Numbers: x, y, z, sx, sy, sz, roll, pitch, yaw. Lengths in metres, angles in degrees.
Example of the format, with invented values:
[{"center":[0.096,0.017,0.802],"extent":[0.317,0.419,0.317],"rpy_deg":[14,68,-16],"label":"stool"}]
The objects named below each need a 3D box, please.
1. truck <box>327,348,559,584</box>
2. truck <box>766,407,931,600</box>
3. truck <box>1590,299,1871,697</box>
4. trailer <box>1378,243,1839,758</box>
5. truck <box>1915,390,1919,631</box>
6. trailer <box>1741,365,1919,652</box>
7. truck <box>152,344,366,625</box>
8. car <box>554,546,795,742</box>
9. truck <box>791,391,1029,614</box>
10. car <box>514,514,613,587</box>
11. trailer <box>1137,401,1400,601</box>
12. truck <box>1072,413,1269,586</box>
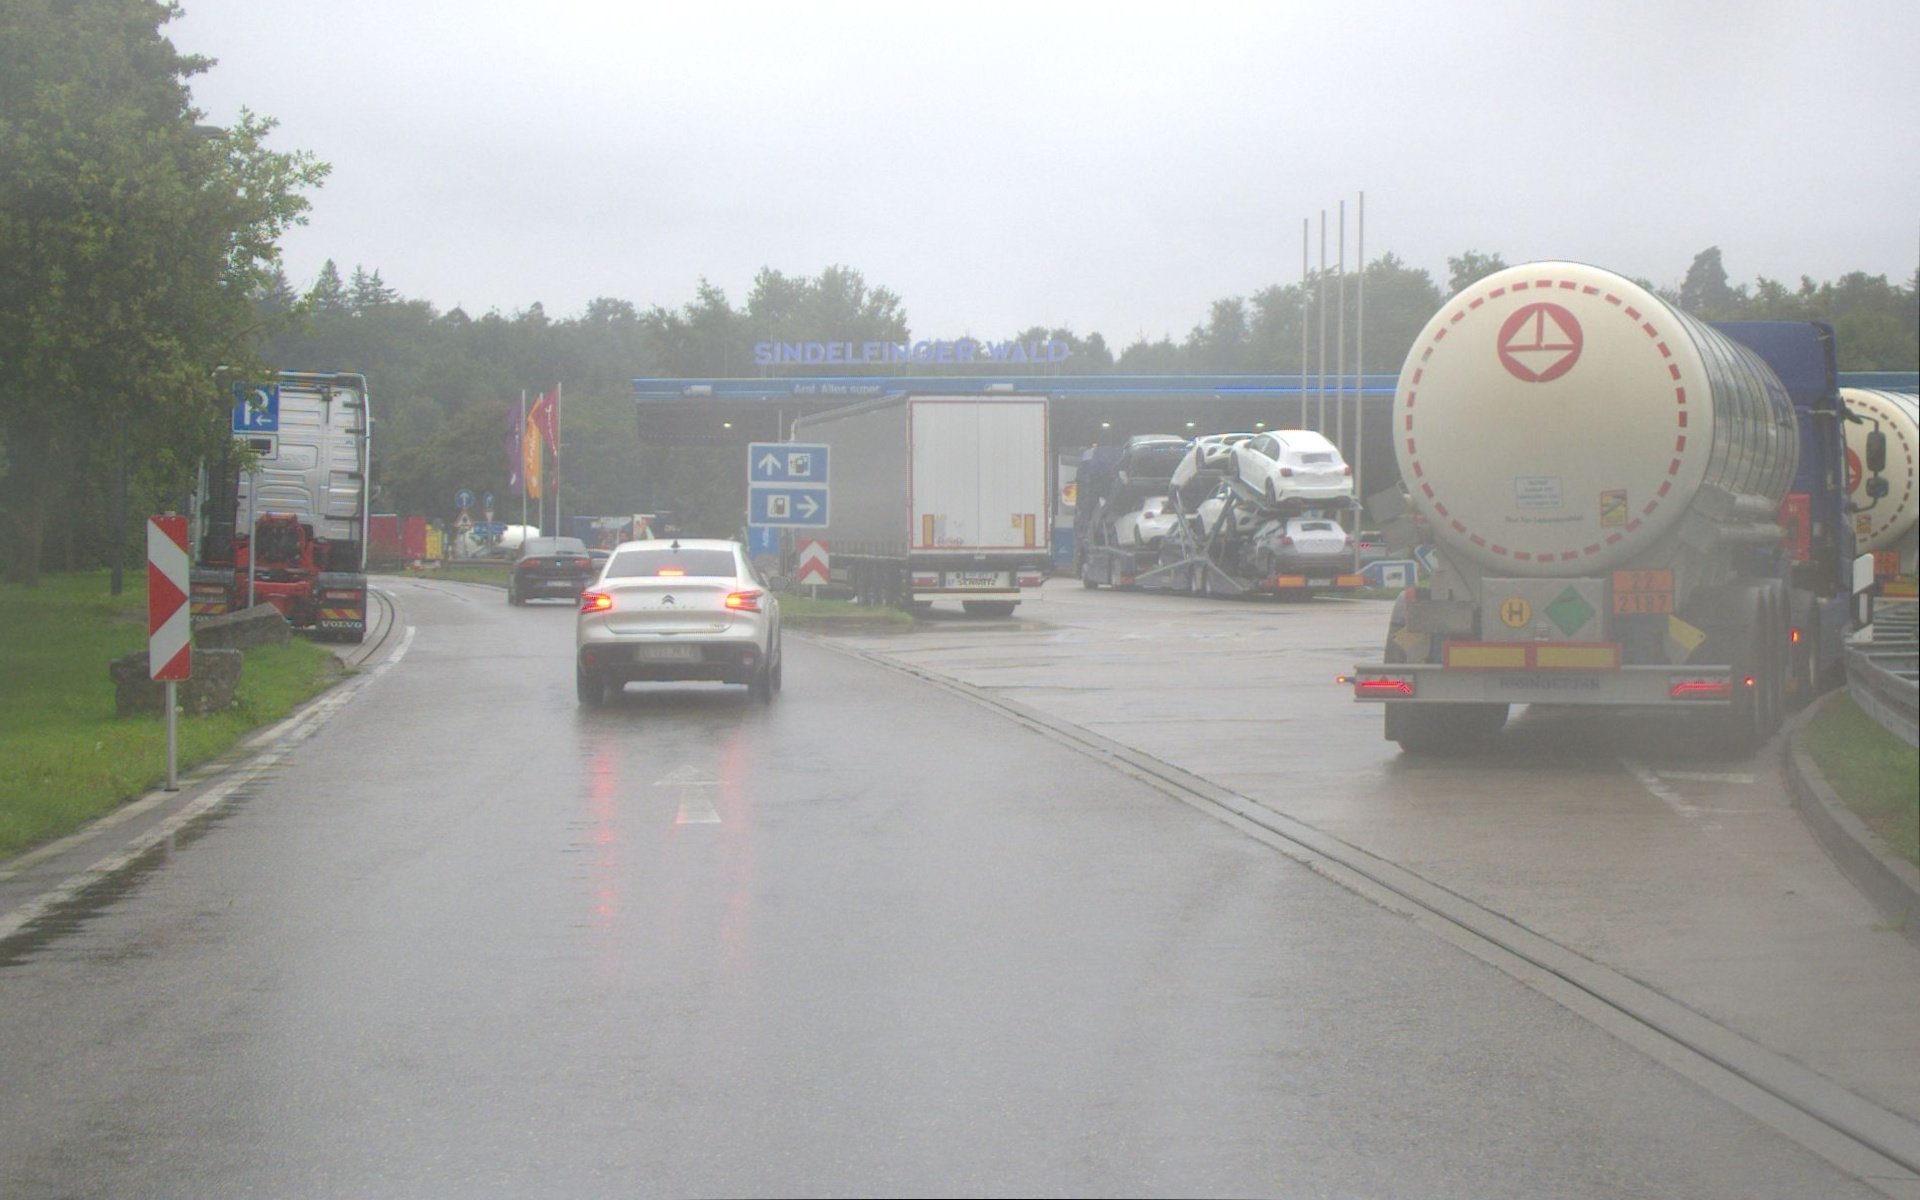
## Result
[{"center":[-12.666,-3.144,83.150],"extent":[4.790,5.287,11.073],"rpy_deg":[0,1,-12],"label":"truck"},{"center":[-2.427,-2.033,72.394],"extent":[2.370,3.860,7.014],"rpy_deg":[-1,1,-11],"label":"truck"},{"center":[7.453,-0.950,32.922],"extent":[2.055,3.519,4.741],"rpy_deg":[1,1,19],"label":"truck"},{"center":[5.329,-0.709,26.647],"extent":[1.982,3.213,10.311],"rpy_deg":[1,1,19],"label":"trailer"},{"center":[15.945,-1.322,51.422],"extent":[2.149,3.501,4.639],"rpy_deg":[1,1,29],"label":"truck"},{"center":[12.981,-1.189,46.055],"extent":[2.134,3.429,10.237],"rpy_deg":[1,1,29],"label":"trailer"},{"center":[-10.334,-1.660,50.992],"extent":[2.914,3.891,6.318],"rpy_deg":[0,1,-11],"label":"truck"},{"center":[-2.614,0.402,32.310],"extent":[1.993,1.673,4.000],"rpy_deg":[2,0,-2],"label":"car"},{"center":[-1.160,-1.851,65.940],"extent":[2.370,3.860,12.459],"rpy_deg":[-1,1,-11],"label":"truck"},{"center":[-8.355,-1.042,72.699],"extent":[1.878,1.456,4.001],"rpy_deg":[1,1,-4],"label":"car"},{"center":[6.831,-2.258,78.494],"extent":[3.215,4.174,11.533],"rpy_deg":[1,1,-9],"label":"trailer"},{"center":[5.300,-2.573,88.363],"extent":[3.233,4.174,8.446],"rpy_deg":[1,1,-9],"label":"truck"}]
